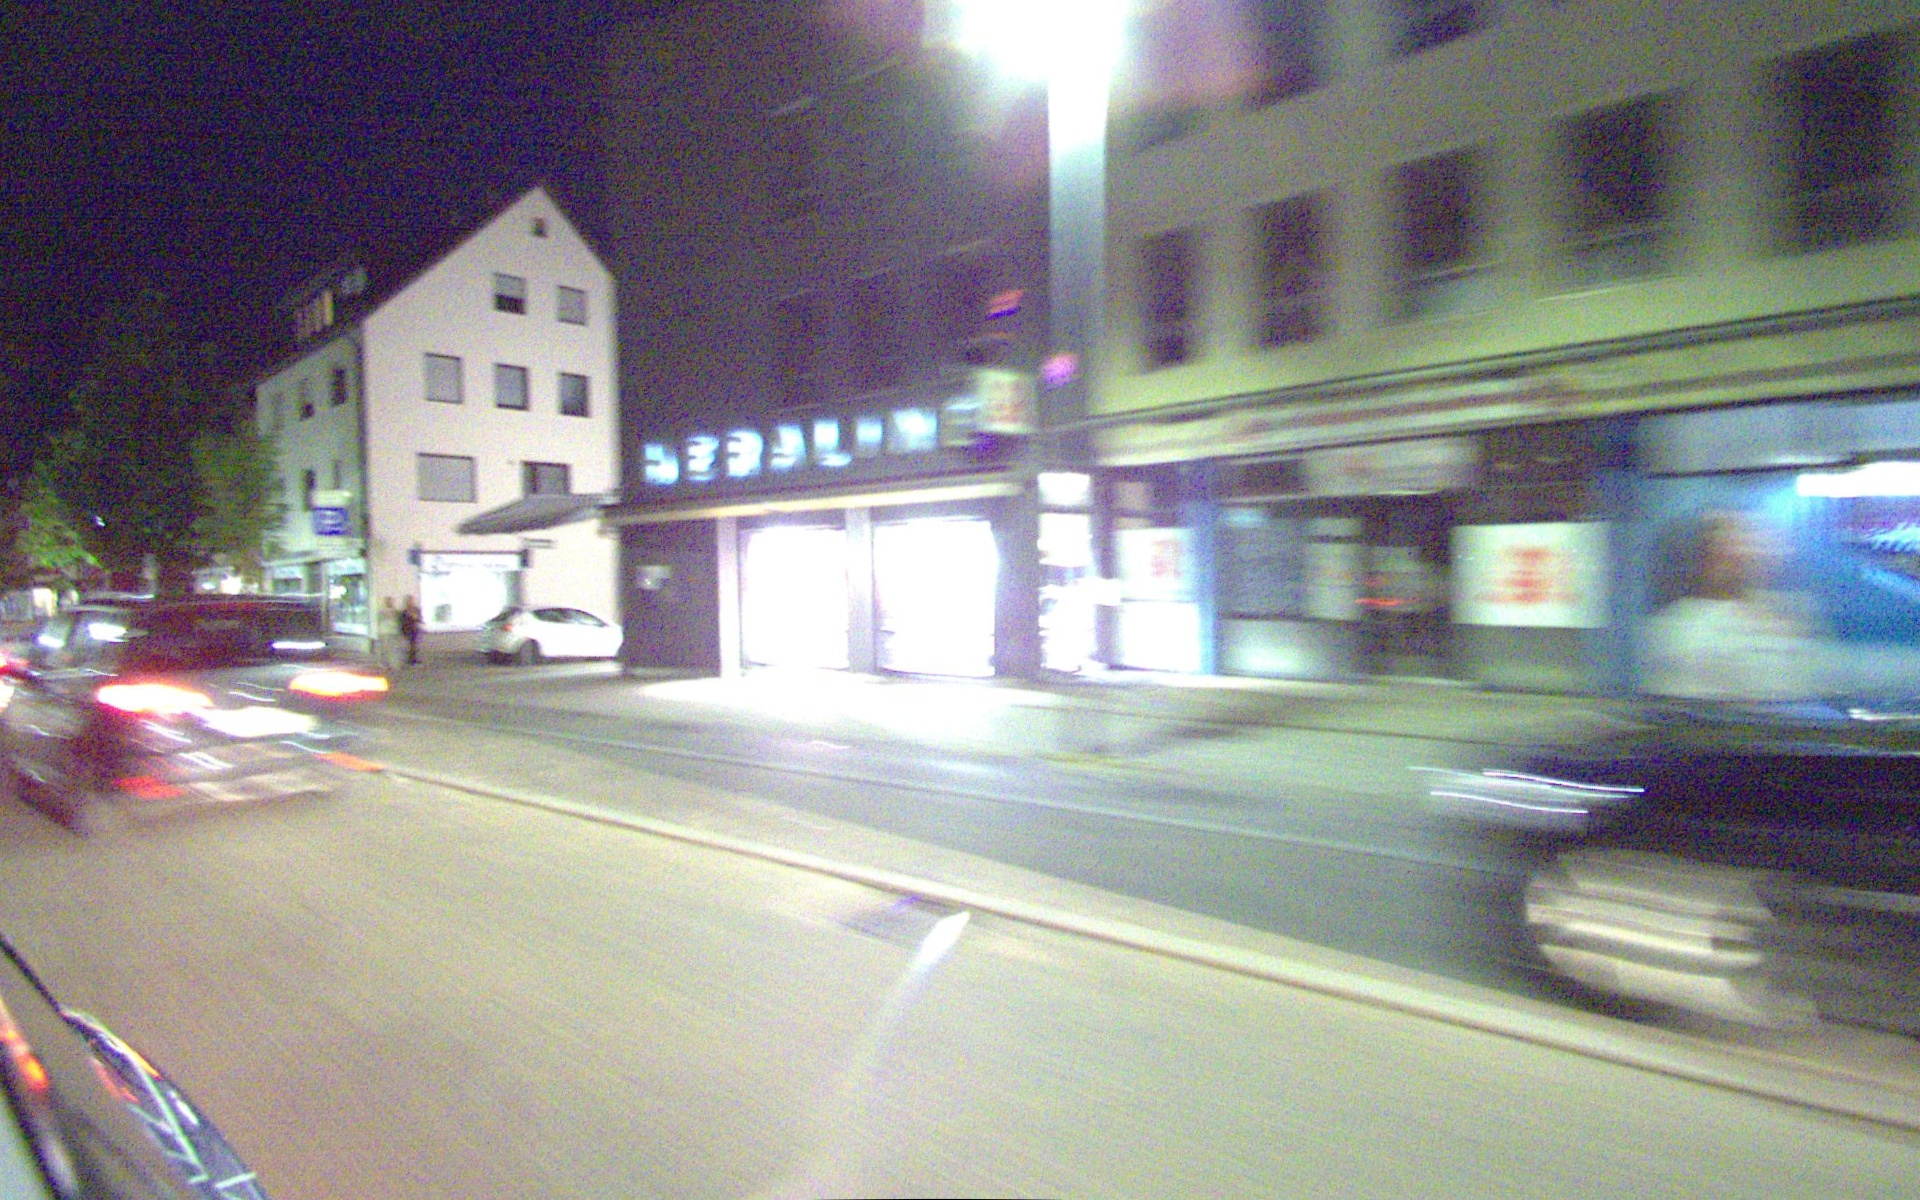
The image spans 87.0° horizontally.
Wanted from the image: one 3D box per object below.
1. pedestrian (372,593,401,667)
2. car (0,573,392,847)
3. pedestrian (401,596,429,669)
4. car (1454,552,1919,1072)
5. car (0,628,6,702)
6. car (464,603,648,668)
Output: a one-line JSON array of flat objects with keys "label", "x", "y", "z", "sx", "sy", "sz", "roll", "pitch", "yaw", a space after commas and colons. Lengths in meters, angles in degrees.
[{"label": "pedestrian", "x": -12.712, "y": 0.649, "z": 22.433, "sx": 0.520, "sy": 1.600, "sz": 0.668, "roll": -1, "pitch": 0, "yaw": -28}, {"label": "car", "x": -6.458, "y": 0.710, "z": 8.160, "sx": 4.301, "sy": 1.657, "sz": 1.731, "roll": -1, "pitch": -1, "yaw": 38}, {"label": "pedestrian", "x": -12.232, "y": 0.715, "z": 22.699, "sx": 0.520, "sy": 1.600, "sz": 0.668, "roll": -1, "pitch": 0, "yaw": -28}, {"label": "car", "x": 4.218, "y": 0.530, "z": 2.657, "sx": 4.927, "sy": 1.430, "sz": 1.877, "roll": -2, "pitch": 1, "yaw": 41}, {"label": "car", "x": -18.610, "y": 1.169, "z": 18.064, "sx": 3.912, "sy": 1.289, "sz": 1.799, "roll": -1, "pitch": 0, "yaw": 39}, {"label": "car", "x": -9.605, "y": 0.796, "z": 24.246, "sx": 1.652, "sy": 1.427, "sz": 3.783, "roll": -2, "pitch": -1, "yaw": 41}]
